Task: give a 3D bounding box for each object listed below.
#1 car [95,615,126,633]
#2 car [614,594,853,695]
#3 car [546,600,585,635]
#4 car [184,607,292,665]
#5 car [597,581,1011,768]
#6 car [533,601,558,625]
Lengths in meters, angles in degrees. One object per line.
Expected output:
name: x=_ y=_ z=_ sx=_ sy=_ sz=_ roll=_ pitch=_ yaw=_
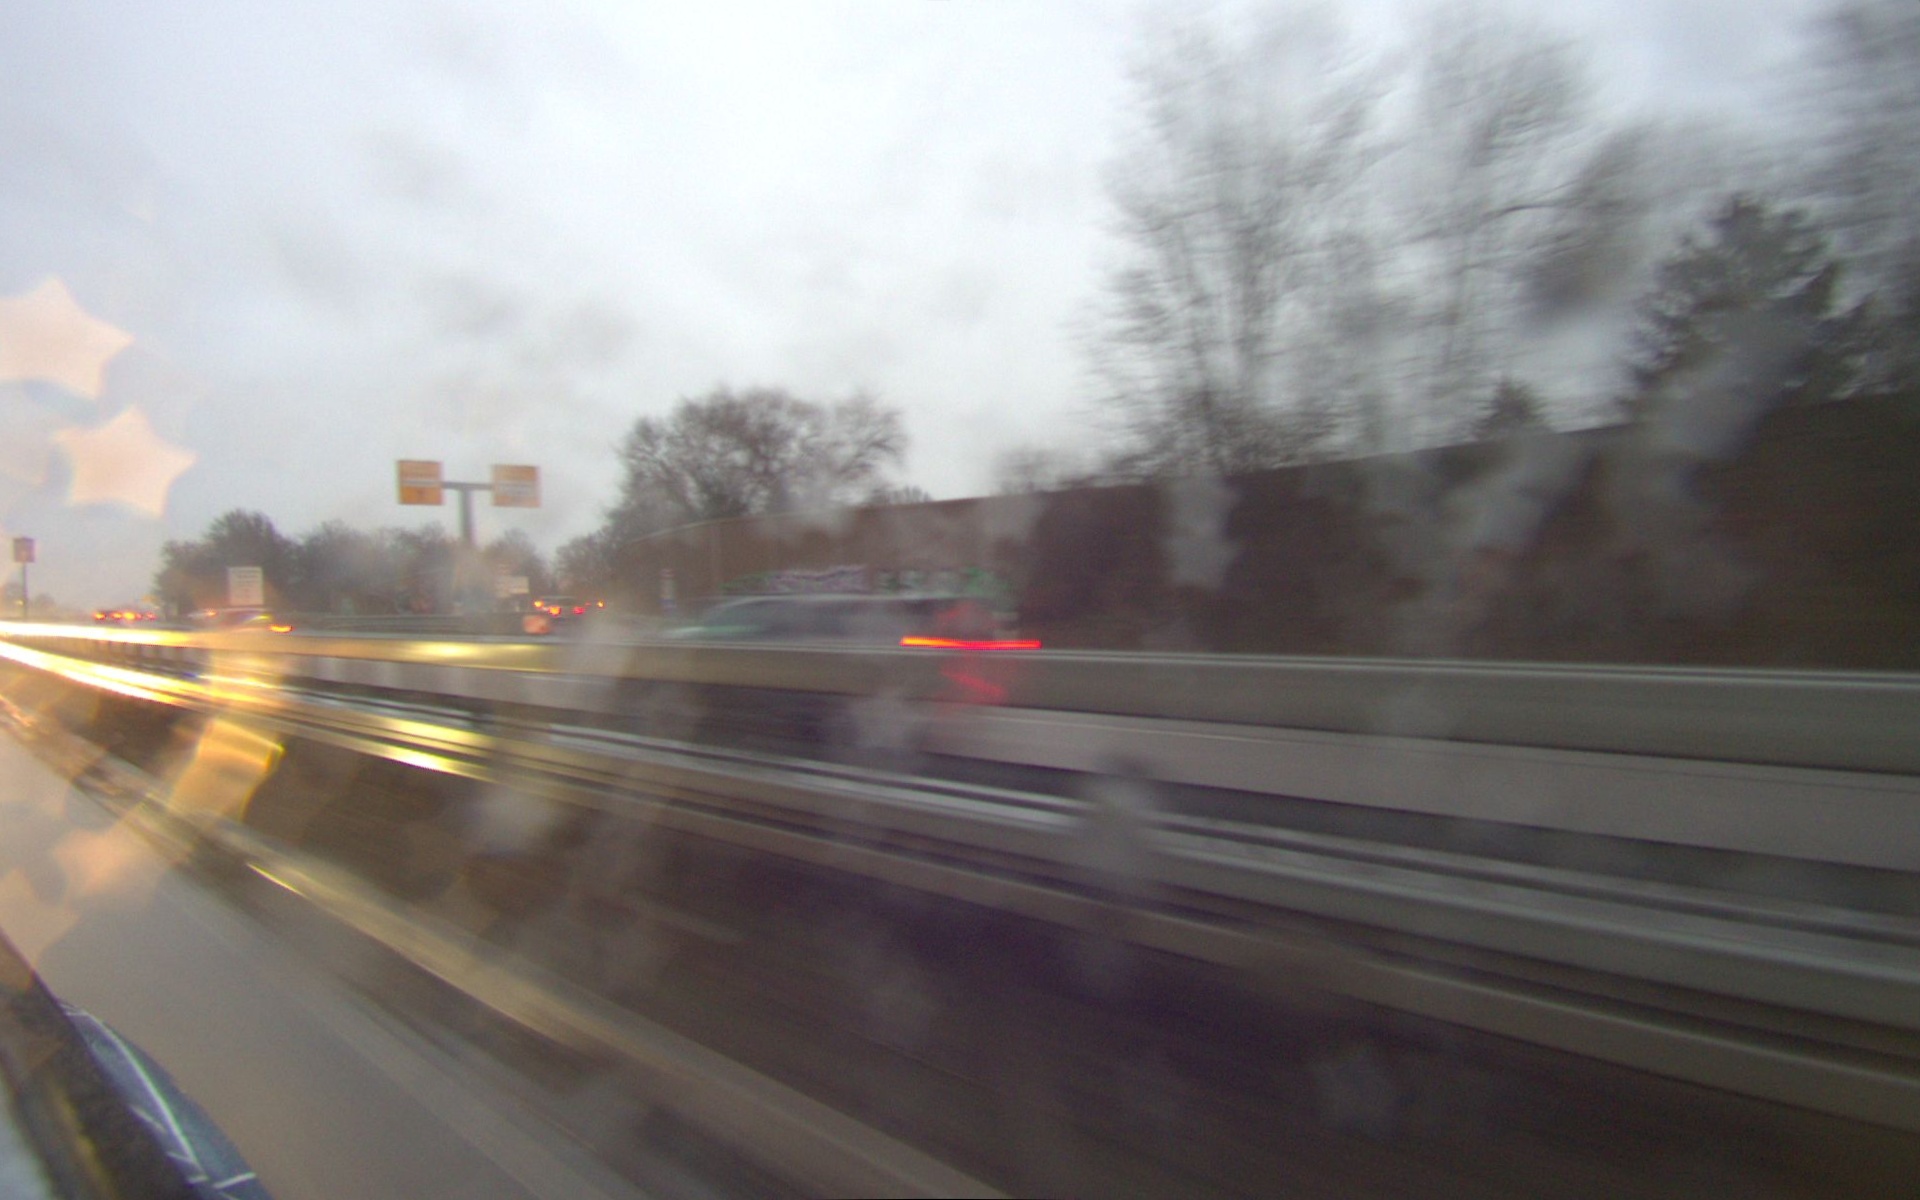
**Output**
car: x=-79.747 y=2.262 z=94.962 sx=4.357 sy=1.567 sz=1.817 roll=-1 pitch=1 yaw=45
car: x=-4.228 y=0.739 z=18.385 sx=4.848 sy=1.578 sz=1.686 roll=-1 pitch=1 yaw=41
car: x=-23.367 y=0.997 z=59.835 sx=1.965 sy=1.928 sz=4.460 roll=-2 pitch=1 yaw=-23
car: x=-20.783 y=0.999 z=29.089 sx=3.842 sy=1.506 sz=1.718 roll=-1 pitch=1 yaw=42
car: x=-1.784 y=0.626 z=10.353 sx=4.597 sy=1.495 sz=1.599 roll=-1 pitch=1 yaw=41
car: x=-35.727 y=1.064 z=87.275 sx=1.965 sy=1.928 sz=4.460 roll=-2 pitch=1 yaw=-22
